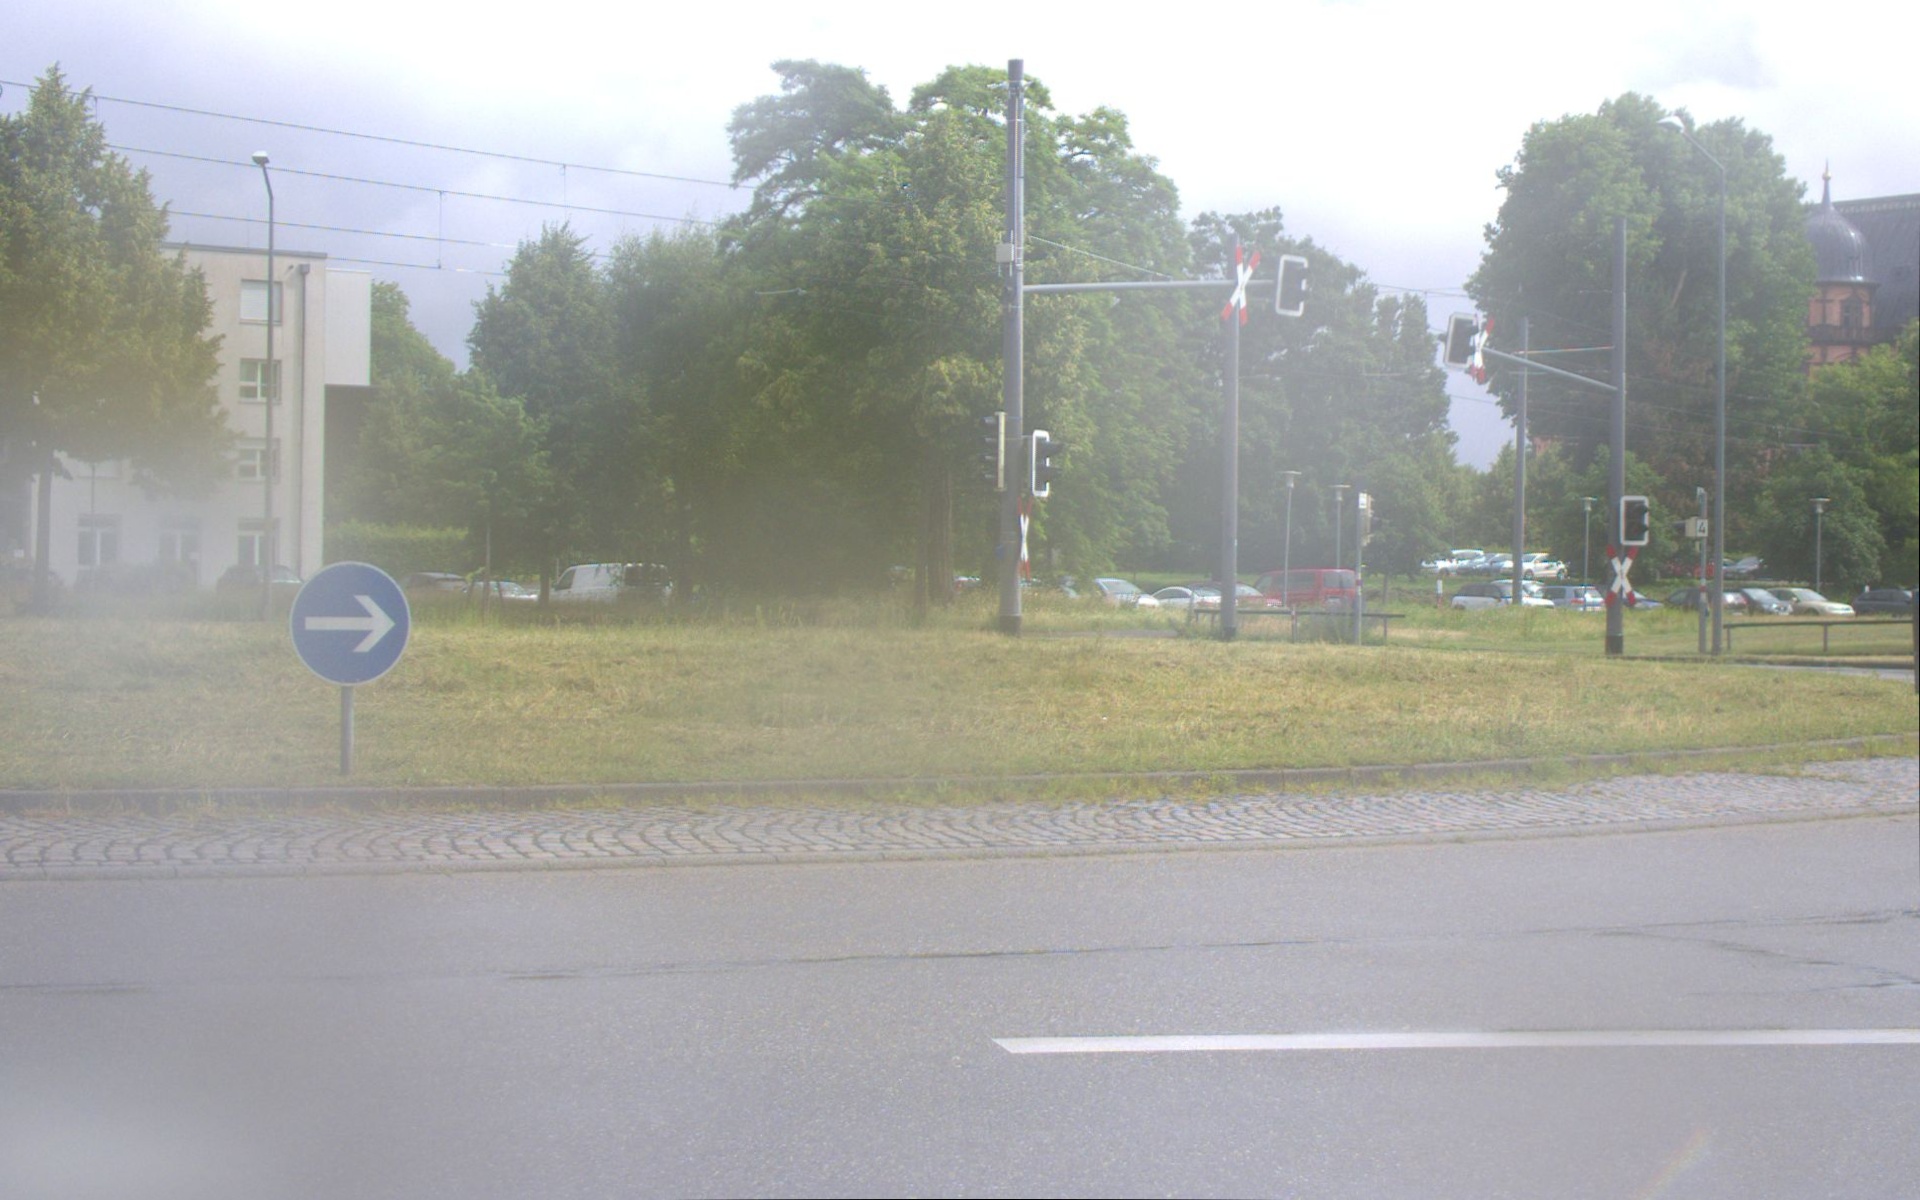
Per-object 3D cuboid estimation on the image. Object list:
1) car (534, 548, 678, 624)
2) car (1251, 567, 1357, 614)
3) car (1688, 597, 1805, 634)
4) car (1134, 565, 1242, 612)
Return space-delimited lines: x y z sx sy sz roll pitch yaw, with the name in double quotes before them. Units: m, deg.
"car" -10.280 -0.419 99.495 2.106 2.050 5.161 0 2 -32
"car" 11.374 -0.319 113.984 1.644 1.505 3.650 1 0 -30
"car" 29.064 0.573 127.176 1.844 1.303 3.978 1 0 -36
"car" 7.345 -0.391 110.943 1.640 1.457 3.611 1 0 -33
